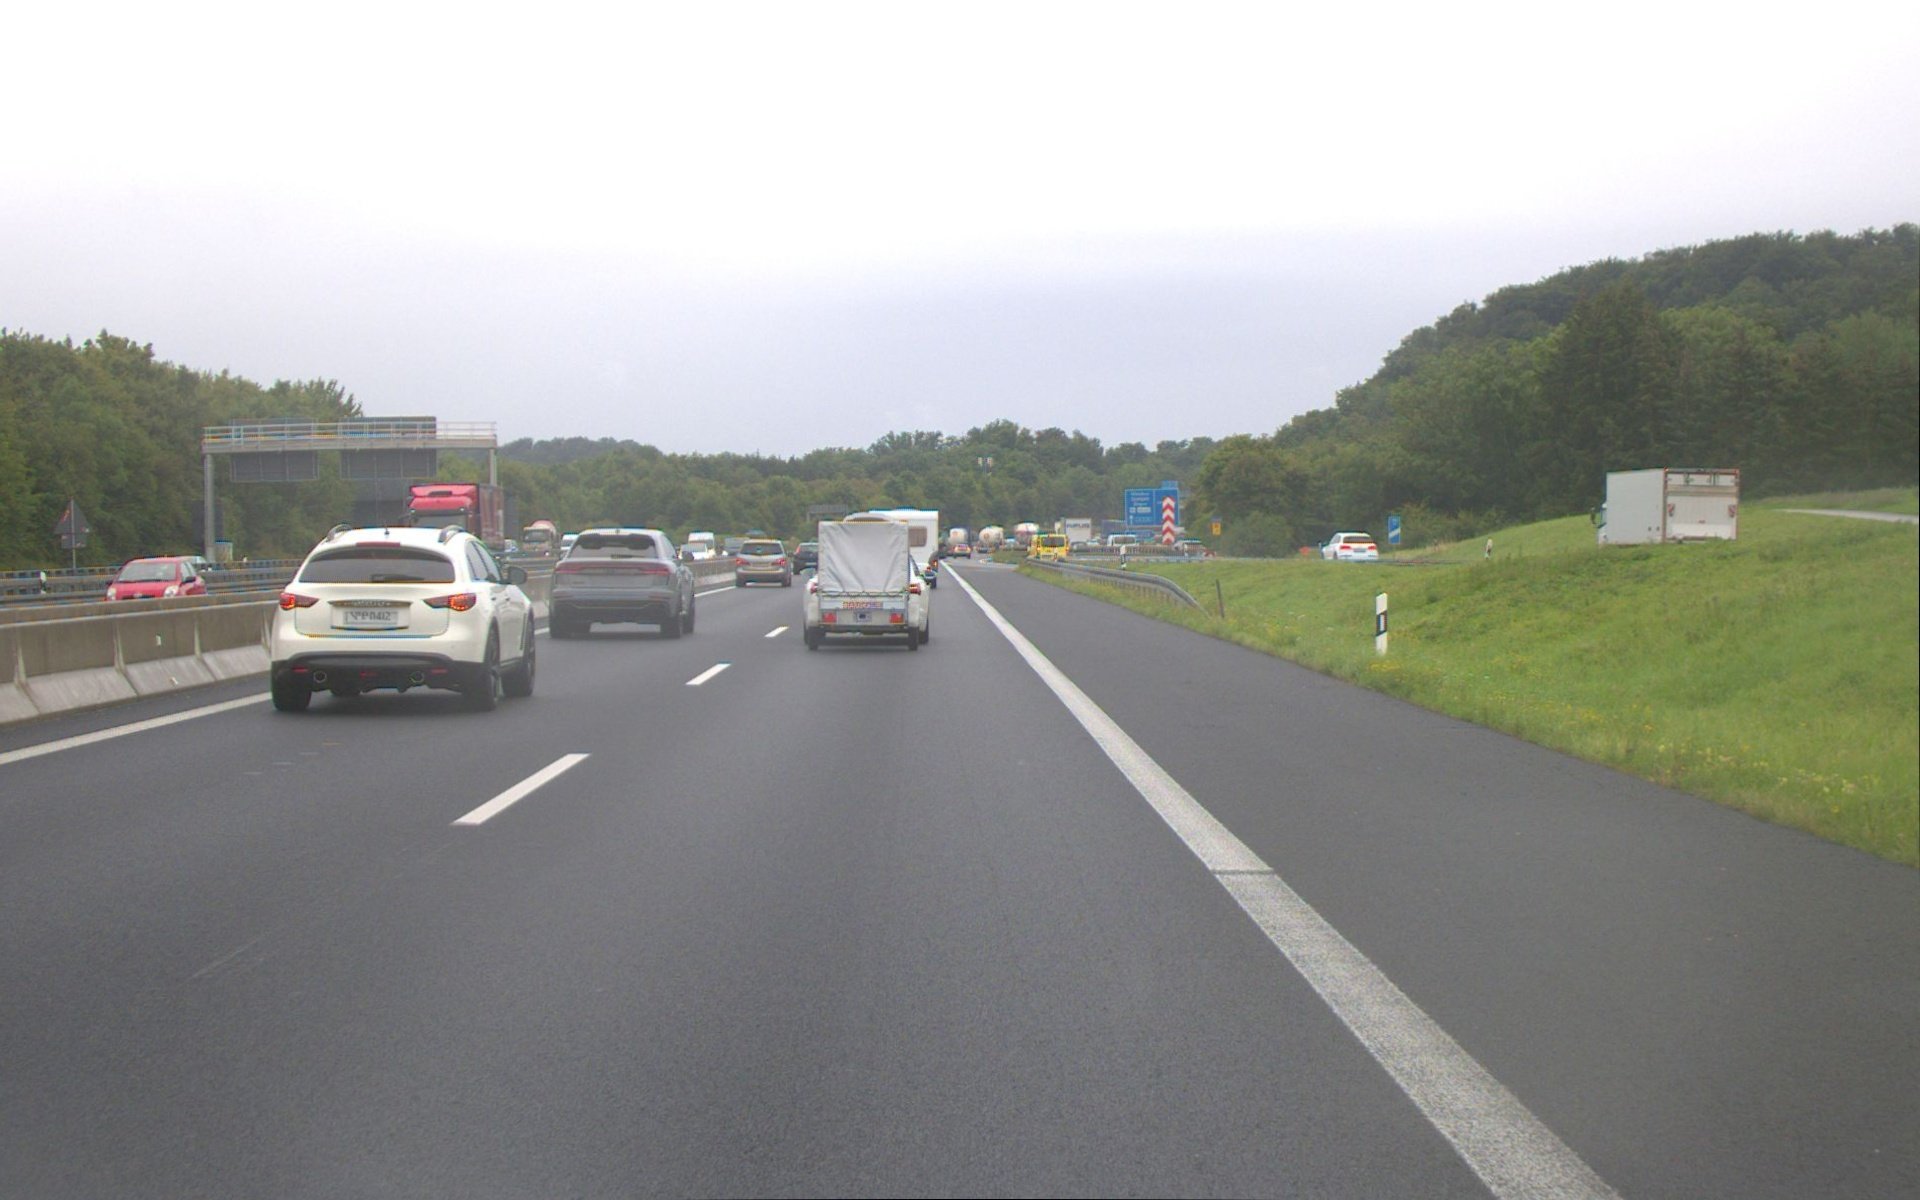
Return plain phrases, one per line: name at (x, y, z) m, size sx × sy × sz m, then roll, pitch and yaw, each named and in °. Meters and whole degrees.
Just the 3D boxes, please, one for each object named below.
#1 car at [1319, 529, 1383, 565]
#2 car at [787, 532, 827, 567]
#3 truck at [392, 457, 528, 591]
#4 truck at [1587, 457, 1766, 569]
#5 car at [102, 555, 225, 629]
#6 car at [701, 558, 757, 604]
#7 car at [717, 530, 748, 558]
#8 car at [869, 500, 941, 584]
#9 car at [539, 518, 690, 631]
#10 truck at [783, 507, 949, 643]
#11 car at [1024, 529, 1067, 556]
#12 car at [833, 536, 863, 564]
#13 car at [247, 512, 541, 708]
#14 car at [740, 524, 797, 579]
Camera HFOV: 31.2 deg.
car at (17.527, -2.395, 154.273) m, size 1.993 × 1.546 × 4.001 m, roll 1°, pitch 1°, yaw -6°
car at (-7.123, -2.355, 160.328) m, size 1.645 × 1.568 × 4.000 m, roll 1°, pitch 1°, yaw 0°
truck at (-18.435, -2.801, 127.432) m, size 3.400 × 4.717 × 10.485 m, roll 1°, pitch 1°, yaw 0°
truck at (24.600, -2.955, 118.516) m, size 3.824 × 3.646 × 8.273 m, roll 1°, pitch 1°, yaw -4°
car at (-17.453, -0.203, 75.515) m, size 1.724 × 1.547 × 4.583 m, roll 1°, pitch 1°, yaw -1°
car at (-8.686, -0.728, 129.526) m, size 1.819 × 1.656 × 4.017 m, roll 0°, pitch 1°, yaw 0°
car at (-15.696, -3.873, 237.197) m, size 1.993 × 1.830 × 4.680 m, roll 1°, pitch 1°, yaw -2°
car at (-1.860, -1.955, 114.958) m, size 2.331 × 2.716 × 6.540 m, roll 0°, pitch 1°, yaw -1°
car at (-5.435, -0.424, 54.598) m, size 1.975 × 1.697 × 4.802 m, roll 1°, pitch 1°, yaw -1°
truck at (-1.359, -0.402, 50.046) m, size 2.242 × 1.833 × 6.585 m, roll 0°, pitch 1°, yaw -1°
car at (4.944, -3.347, 199.833) m, size 1.993 × 1.546 × 4.001 m, roll 1°, pitch 1°, yaw -6°
car at (-6.581, -2.932, 202.164) m, size 1.645 × 1.568 × 4.000 m, roll 1°, pitch 1°, yaw 0°
car at (-5.136, 0.044, 31.804) m, size 2.048 × 1.665 × 4.541 m, roll 1°, pitch 1°, yaw -1°
car at (-6.438, -1.650, 115.931) m, size 1.738 × 1.787 × 4.000 m, roll 1°, pitch 1°, yaw -1°
